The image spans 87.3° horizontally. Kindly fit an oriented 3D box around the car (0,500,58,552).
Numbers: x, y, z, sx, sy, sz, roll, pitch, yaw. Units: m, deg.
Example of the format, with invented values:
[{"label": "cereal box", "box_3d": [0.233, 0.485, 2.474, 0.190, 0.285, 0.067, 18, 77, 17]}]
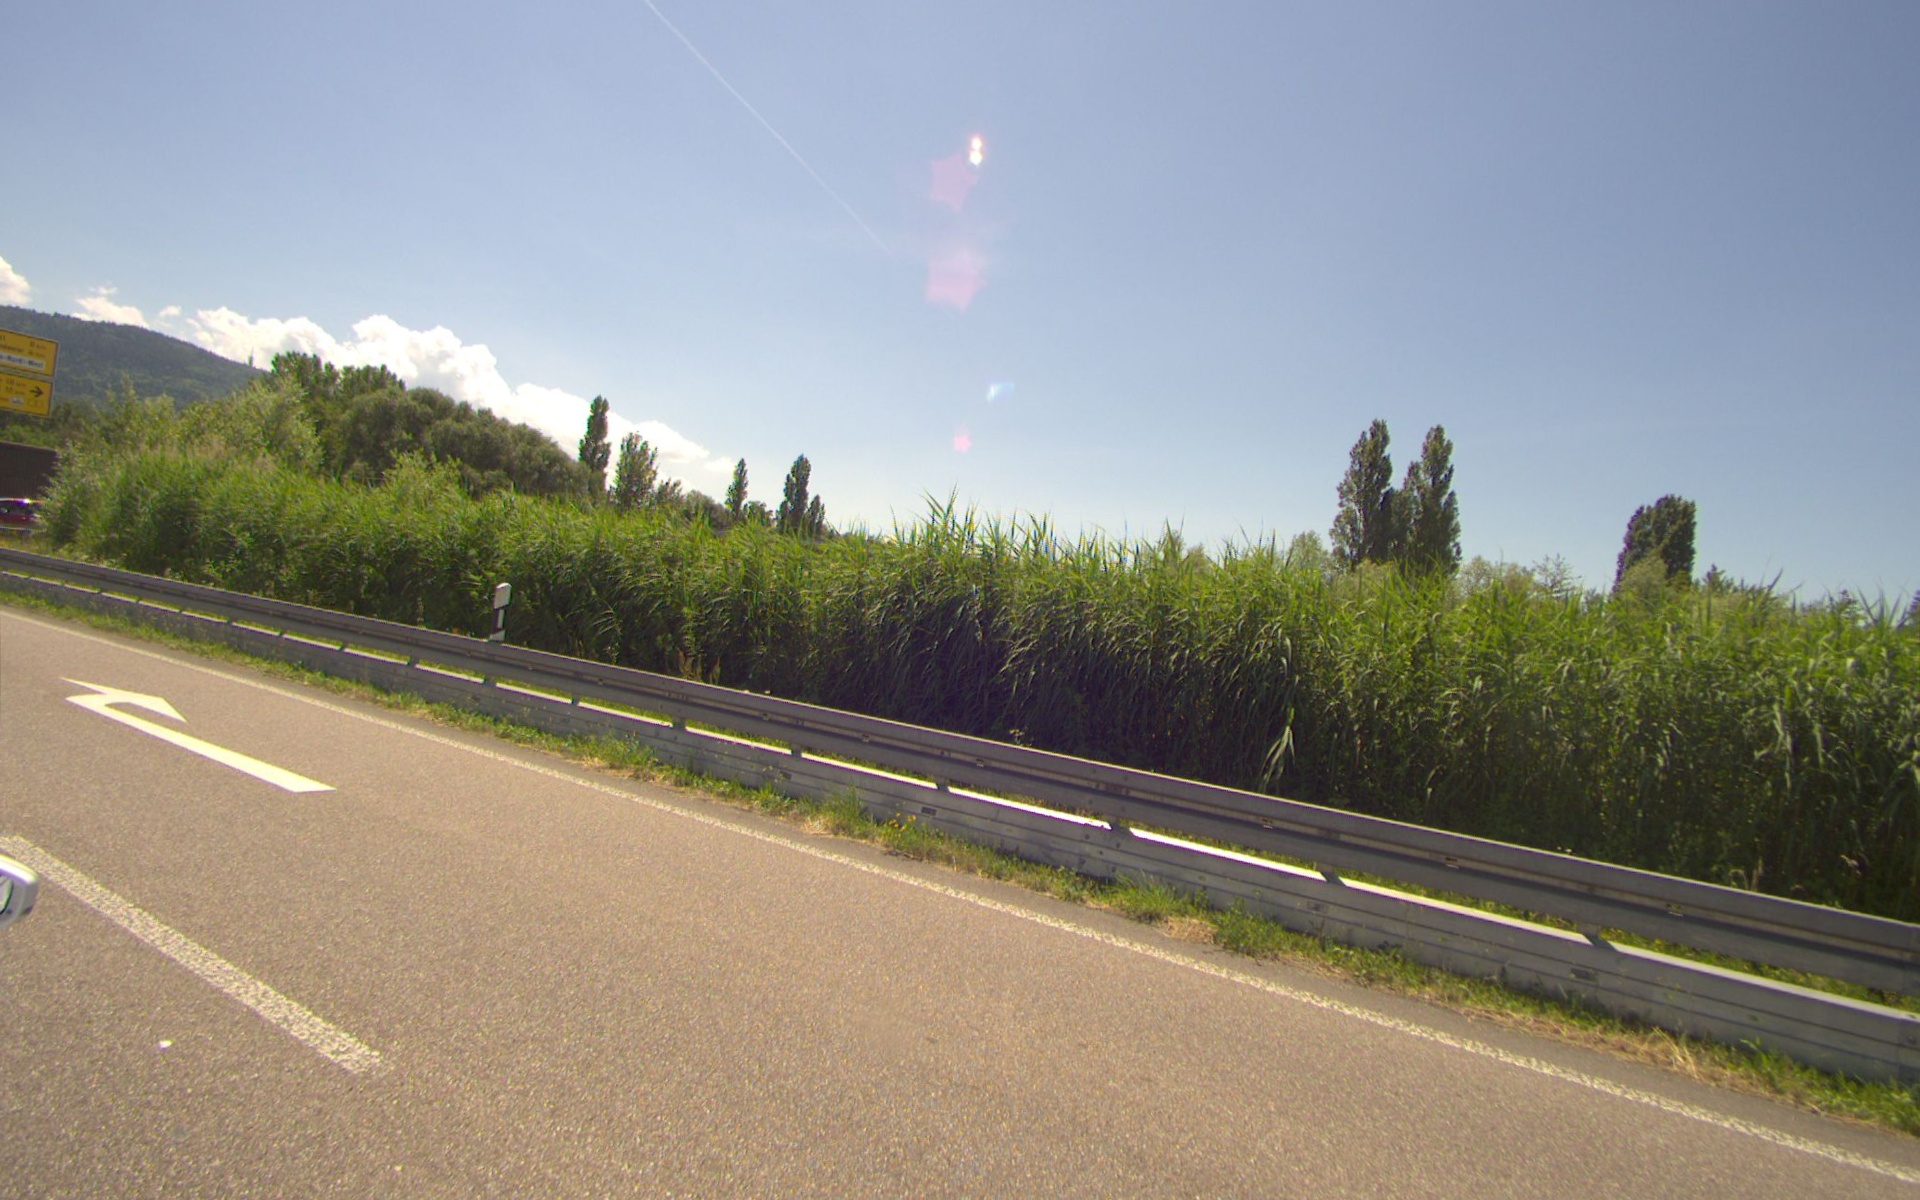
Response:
[{"label": "car", "box_3d": [-36.318, -2.951, 36.891, 1.966, 1.676, 4.320, 7, -2, 28]}]
